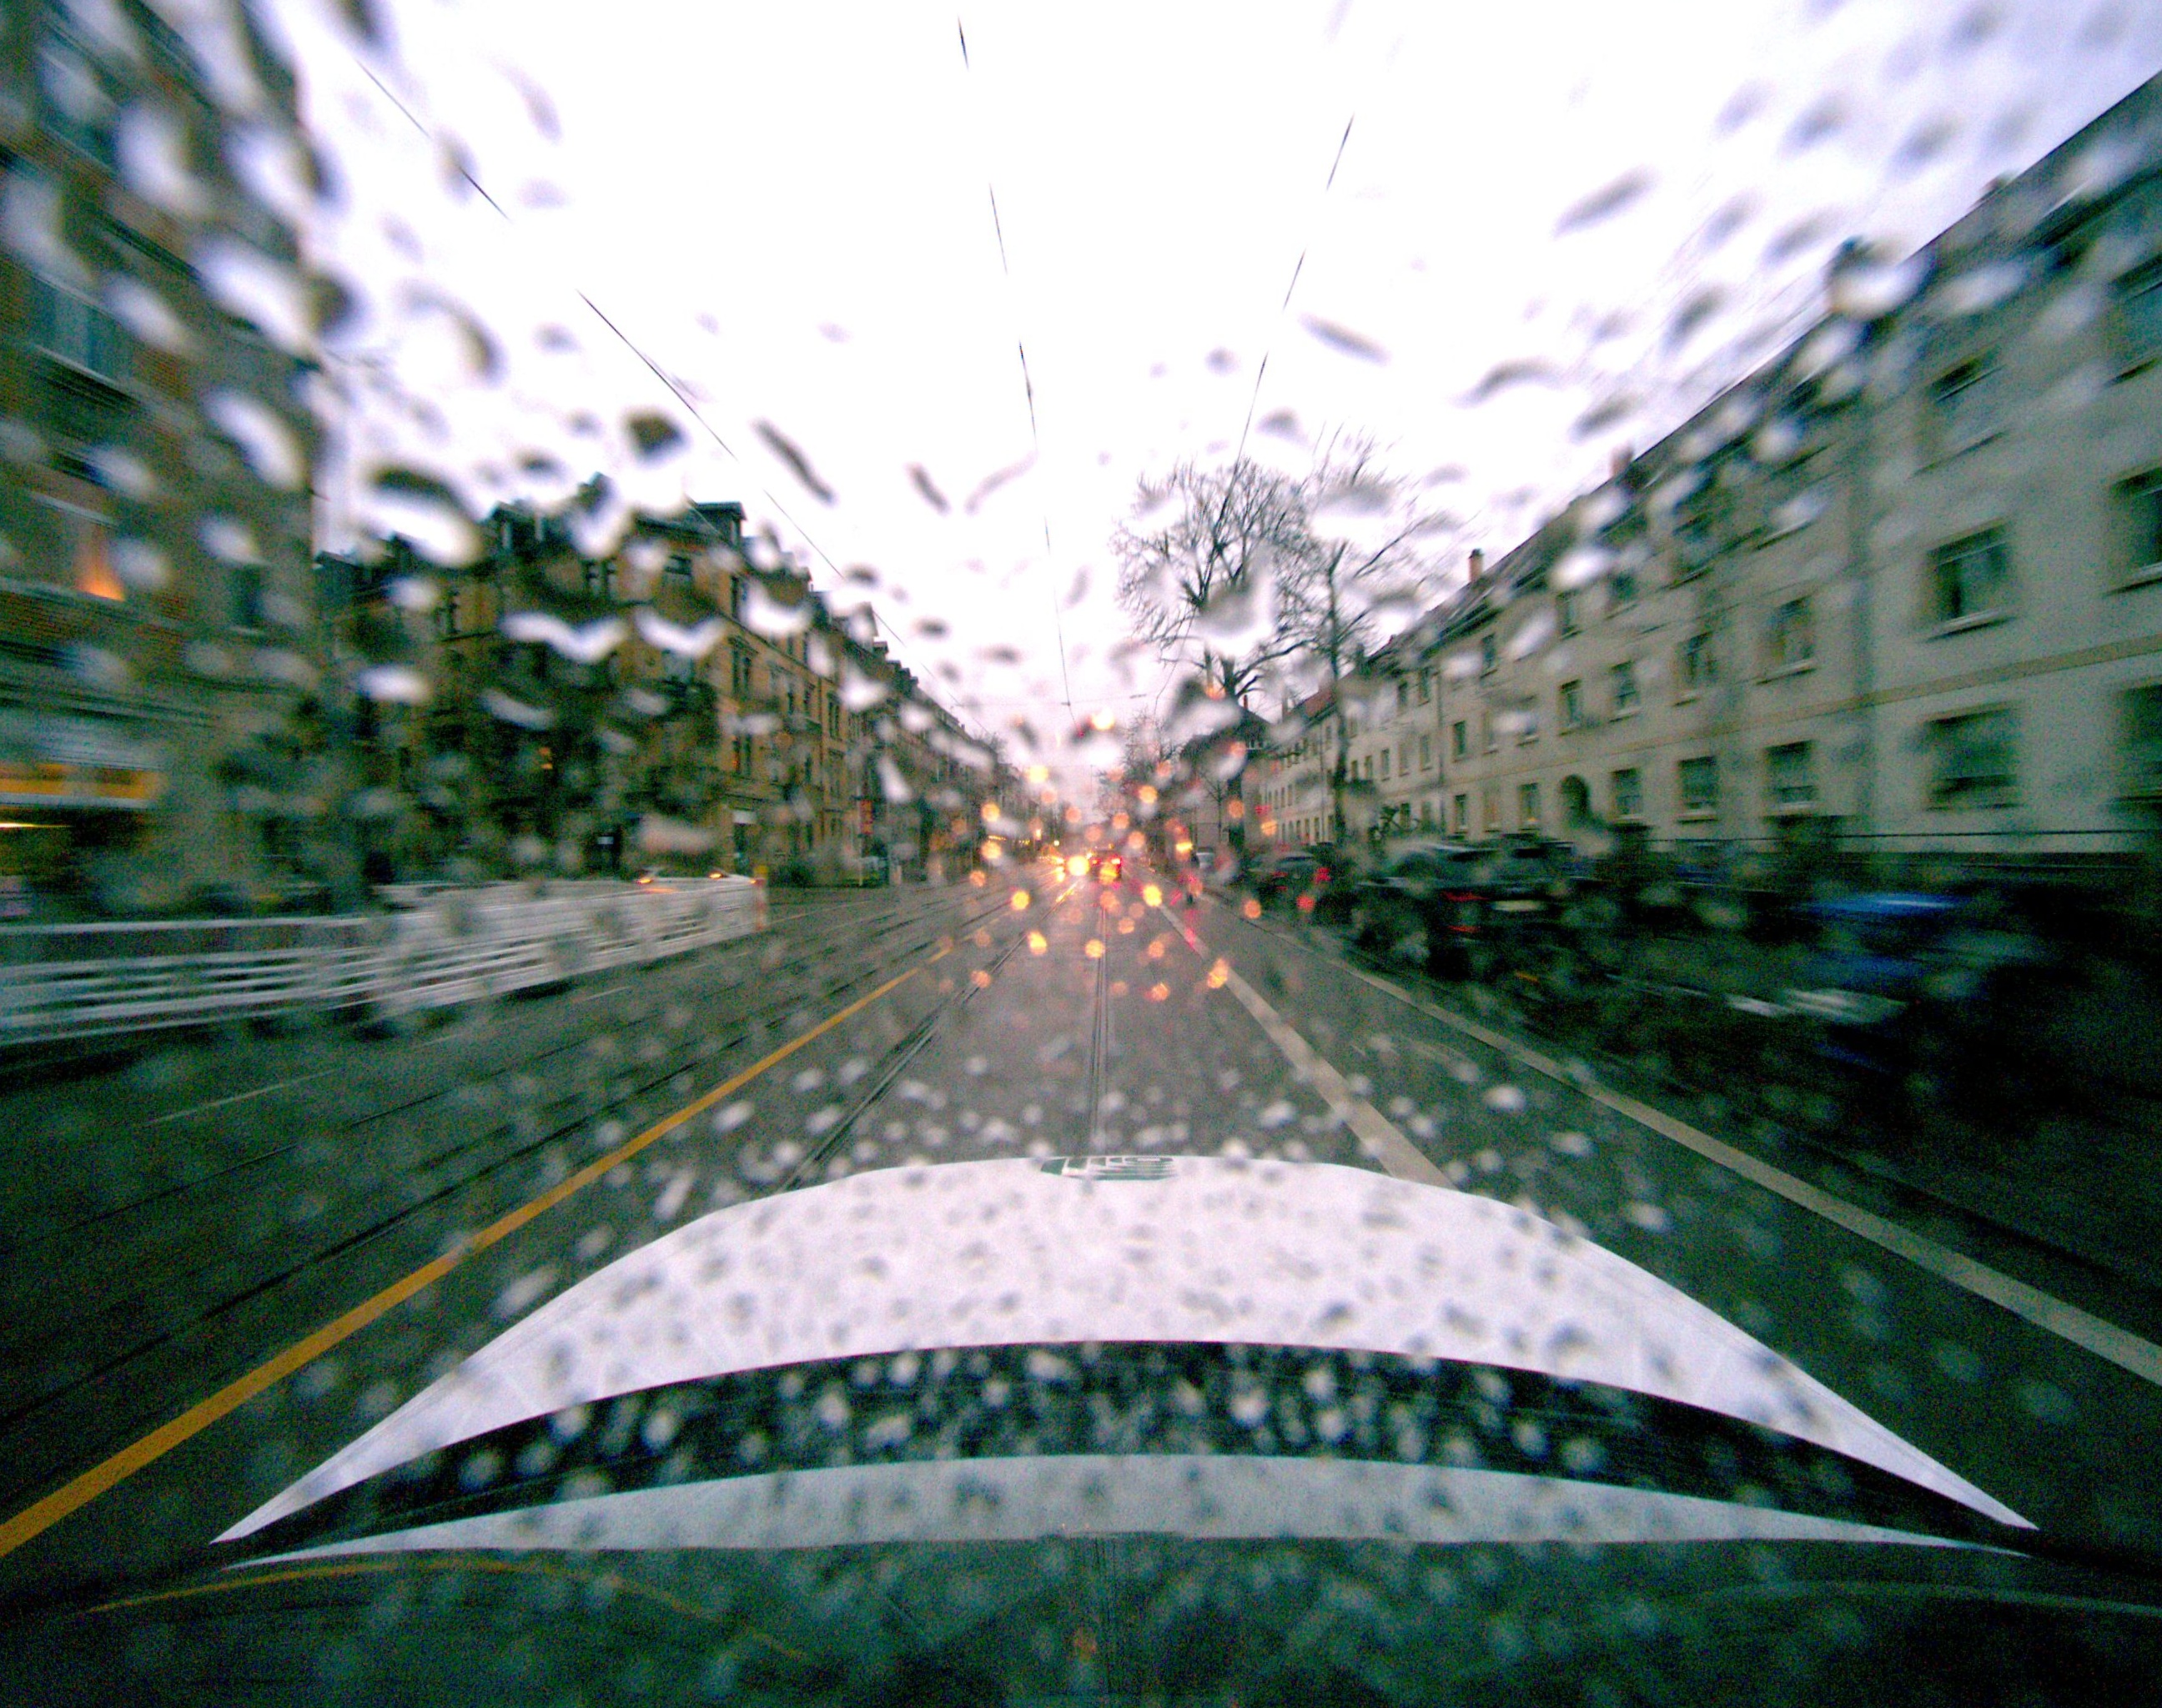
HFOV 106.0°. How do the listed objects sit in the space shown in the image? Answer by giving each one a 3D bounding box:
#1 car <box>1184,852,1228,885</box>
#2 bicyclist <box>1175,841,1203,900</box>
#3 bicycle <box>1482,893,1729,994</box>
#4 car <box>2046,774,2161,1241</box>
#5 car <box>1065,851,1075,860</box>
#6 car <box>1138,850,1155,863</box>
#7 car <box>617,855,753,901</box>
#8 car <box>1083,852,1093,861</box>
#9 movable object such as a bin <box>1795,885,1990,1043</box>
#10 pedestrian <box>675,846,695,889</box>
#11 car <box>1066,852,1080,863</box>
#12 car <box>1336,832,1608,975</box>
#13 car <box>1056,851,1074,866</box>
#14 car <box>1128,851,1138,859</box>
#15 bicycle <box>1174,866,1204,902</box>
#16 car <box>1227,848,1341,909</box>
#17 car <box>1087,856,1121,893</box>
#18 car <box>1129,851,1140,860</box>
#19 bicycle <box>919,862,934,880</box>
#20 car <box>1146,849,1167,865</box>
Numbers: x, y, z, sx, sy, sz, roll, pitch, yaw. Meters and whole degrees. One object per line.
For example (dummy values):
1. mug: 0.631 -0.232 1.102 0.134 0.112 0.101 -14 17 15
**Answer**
1. car: 6.170 0.688 40.600 1.778 1.509 4.112 -1 0 3
2. bicyclist: 3.223 0.493 24.362 0.727 1.736 0.766 -1 0 3
3. bicycle: 5.102 0.875 8.017 2.001 0.916 0.466 -2 0 10
4. car: 4.889 0.558 0.902 1.899 1.727 4.903 -1 0 1
5. car: -2.133 0.325 159.222 1.916 1.720 4.002 -1 0 2
6. car: 7.749 0.320 96.655 1.778 1.509 4.110 -1 0 2
7. car: -14.502 0.837 29.925 4.193 1.526 1.977 -1 0 -37
8. car: 1.501 0.504 168.920 1.916 1.662 4.002 -1 0 2
9. movable object such as a bin: 5.710 0.749 5.757 0.749 0.954 0.568 -6 0 -4
10. pedestrian: -16.521 0.566 33.975 0.722 1.773 0.764 -1 0 -27
11. car: -1.212 0.480 123.449 1.916 1.662 4.002 -1 0 2
12. car: 5.212 0.565 11.667 1.897 1.610 4.565 -1 0 3
13. car: -1.819 0.519 95.675 1.916 1.662 4.002 -1 0 2
14. car: 9.876 0.255 155.558 1.778 1.509 4.110 -1 0 2
15. bicycle: 3.225 0.885 24.372 0.728 1.007 1.765 -1 0 3
16. car: 5.483 0.606 22.581 1.874 1.420 4.340 -3 0 -2
17. car: 1.278 1.118 45.981 1.796 1.871 4.018 2 0 1
18. car: 9.364 0.250 142.159 1.778 1.509 4.110 -1 0 2
19. bicycle: -9.194 0.988 48.552 0.494 1.007 1.765 -1 0 3
20. car: 7.297 0.278 78.627 1.778 1.509 4.110 -1 0 2
